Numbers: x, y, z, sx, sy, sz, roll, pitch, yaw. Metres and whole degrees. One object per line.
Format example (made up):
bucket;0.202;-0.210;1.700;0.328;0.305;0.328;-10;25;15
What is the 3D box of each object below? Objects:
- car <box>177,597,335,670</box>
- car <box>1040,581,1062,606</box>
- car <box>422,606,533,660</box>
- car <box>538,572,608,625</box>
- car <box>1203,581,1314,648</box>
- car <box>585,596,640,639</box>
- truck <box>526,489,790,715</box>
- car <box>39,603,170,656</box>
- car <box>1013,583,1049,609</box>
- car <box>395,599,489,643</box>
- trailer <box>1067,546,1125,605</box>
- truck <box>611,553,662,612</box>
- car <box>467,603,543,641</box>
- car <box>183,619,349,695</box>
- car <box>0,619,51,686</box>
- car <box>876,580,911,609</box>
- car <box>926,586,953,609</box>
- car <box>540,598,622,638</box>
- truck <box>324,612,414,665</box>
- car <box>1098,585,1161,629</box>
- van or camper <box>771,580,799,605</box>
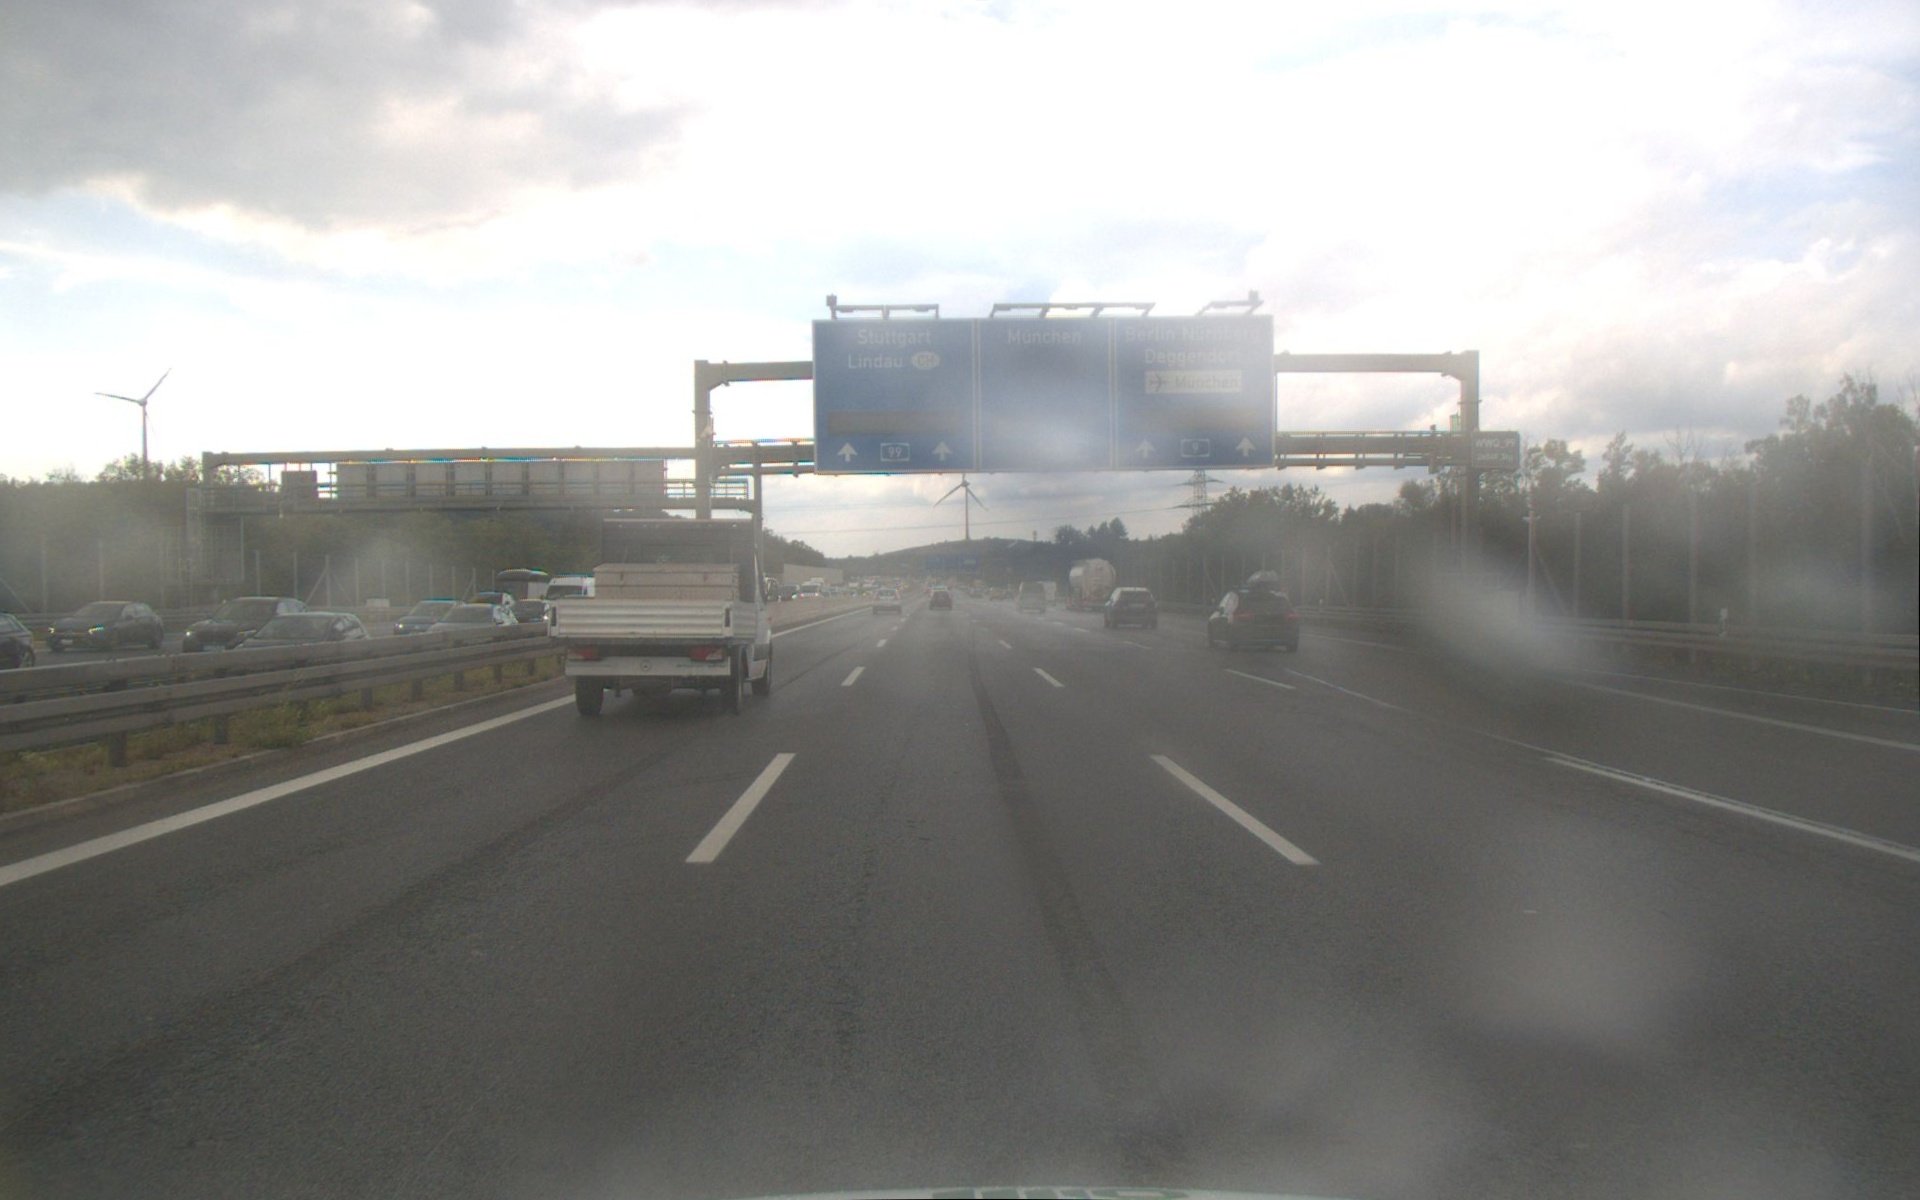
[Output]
car;-17.371;0.782;41.110;1.844;1.626;5.134;-1;1;-2
car;9.335;-0.721;170.491;2.003;2.541;3.999;0;0;-1
car;-13.751;0.914;47.419;1.851;1.363;4.944;-1;1;-2
car;-19.095;-0.099;81.840;2.158;2.532;6.063;-1;1;-2
car;7.761;0.380;43.428;2.061;1.634;5.065;0;0;1
car;-22.428;1.082;107.102;2.225;2.591;7.356;0;0;-2
truck;-3.694;-0.010;21.862;2.305;2.450;7.356;1;0;-2
car;-25.423;0.847;49.307;1.726;1.451;4.340;-1;1;-2
car;4.776;-0.278;111.806;2.056;1.729;3.997;0;0;-4
car;-17.515;0.678;56.109;1.851;1.363;4.562;-1;1;-2
trailer;10.272;-1.776;126.039;3.265;4.249;11.836;1;0;-1
truck;-27.880;-1.460;142.867;3.084;4.941;8.024;0;0;-2
car;-18.211;0.843;66.427;1.762;1.381;5.127;-1;1;-2
car;-13.891;1.096;33.360;1.669;1.311;4.186;-1;1;-2
car;-20.356;1.107;33.419;1.551;1.304;4.601;-1;1;-2
car;-4.032;-0.366;100.408;2.003;1.729;3.999;0;0;-1
car;-1.560;-0.177;126.349;2.004;1.729;3.999;0;0;-2
car;-14.316;0.650;62.825;2.037;1.381;5.255;-1;1;-2
truck;-21.429;1.362;60.138;1.953;1.777;3.998;0;0;-2
car;6.878;0.242;67.631;2.003;1.729;5.006;0;0;-1
van or camper;-15.793;-0.653;149.735;2.052;2.224;4.970;0;0;-1
